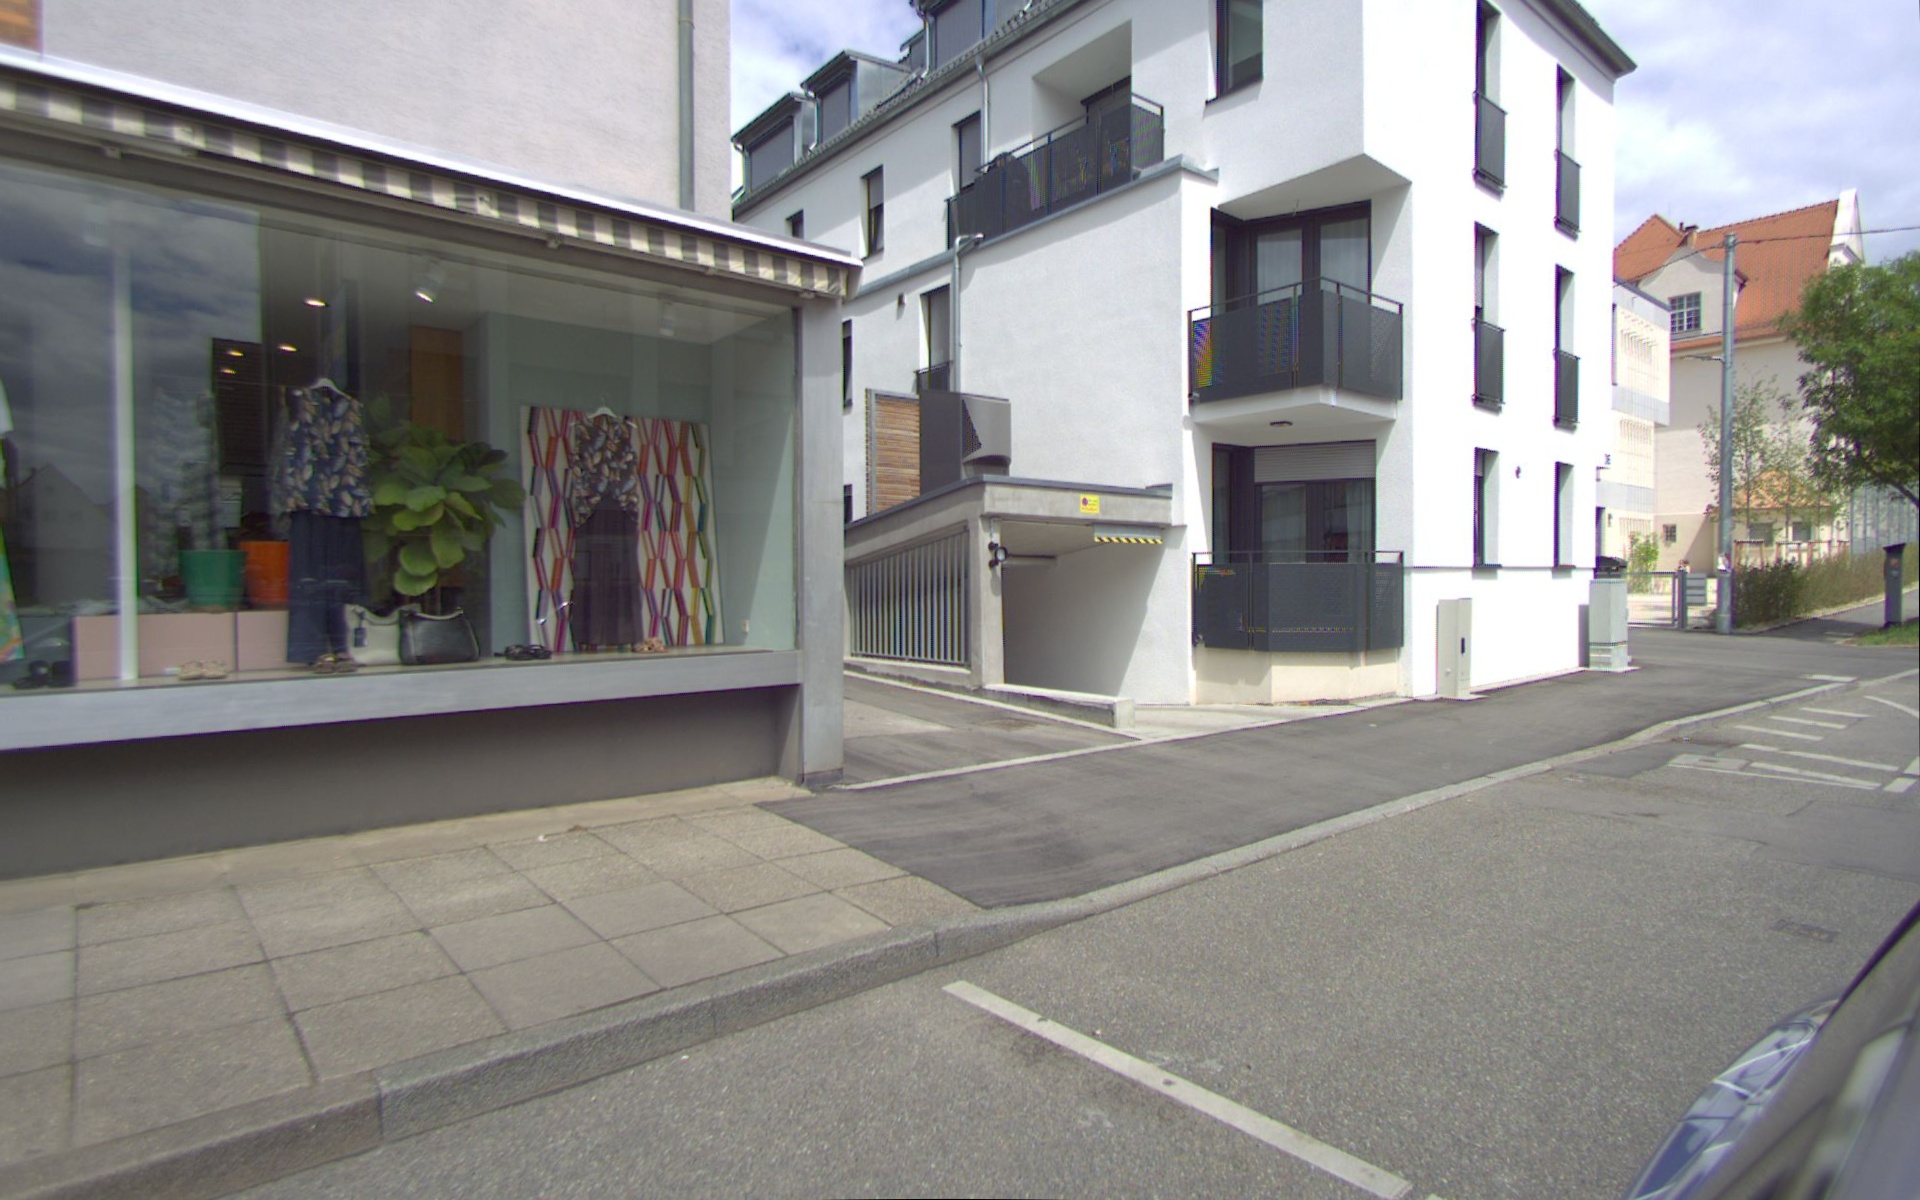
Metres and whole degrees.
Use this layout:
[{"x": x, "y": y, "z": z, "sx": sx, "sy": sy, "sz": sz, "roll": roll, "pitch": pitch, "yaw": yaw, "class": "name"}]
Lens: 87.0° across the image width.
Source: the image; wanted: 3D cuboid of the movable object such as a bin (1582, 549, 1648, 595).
[{"x": 21.819, "y": -0.938, "z": 33.720, "sx": 1.775, "sy": 1.465, "sz": 1.351, "roll": -3, "pitch": 2, "yaw": -39, "class": "movable object such as a bin"}]
